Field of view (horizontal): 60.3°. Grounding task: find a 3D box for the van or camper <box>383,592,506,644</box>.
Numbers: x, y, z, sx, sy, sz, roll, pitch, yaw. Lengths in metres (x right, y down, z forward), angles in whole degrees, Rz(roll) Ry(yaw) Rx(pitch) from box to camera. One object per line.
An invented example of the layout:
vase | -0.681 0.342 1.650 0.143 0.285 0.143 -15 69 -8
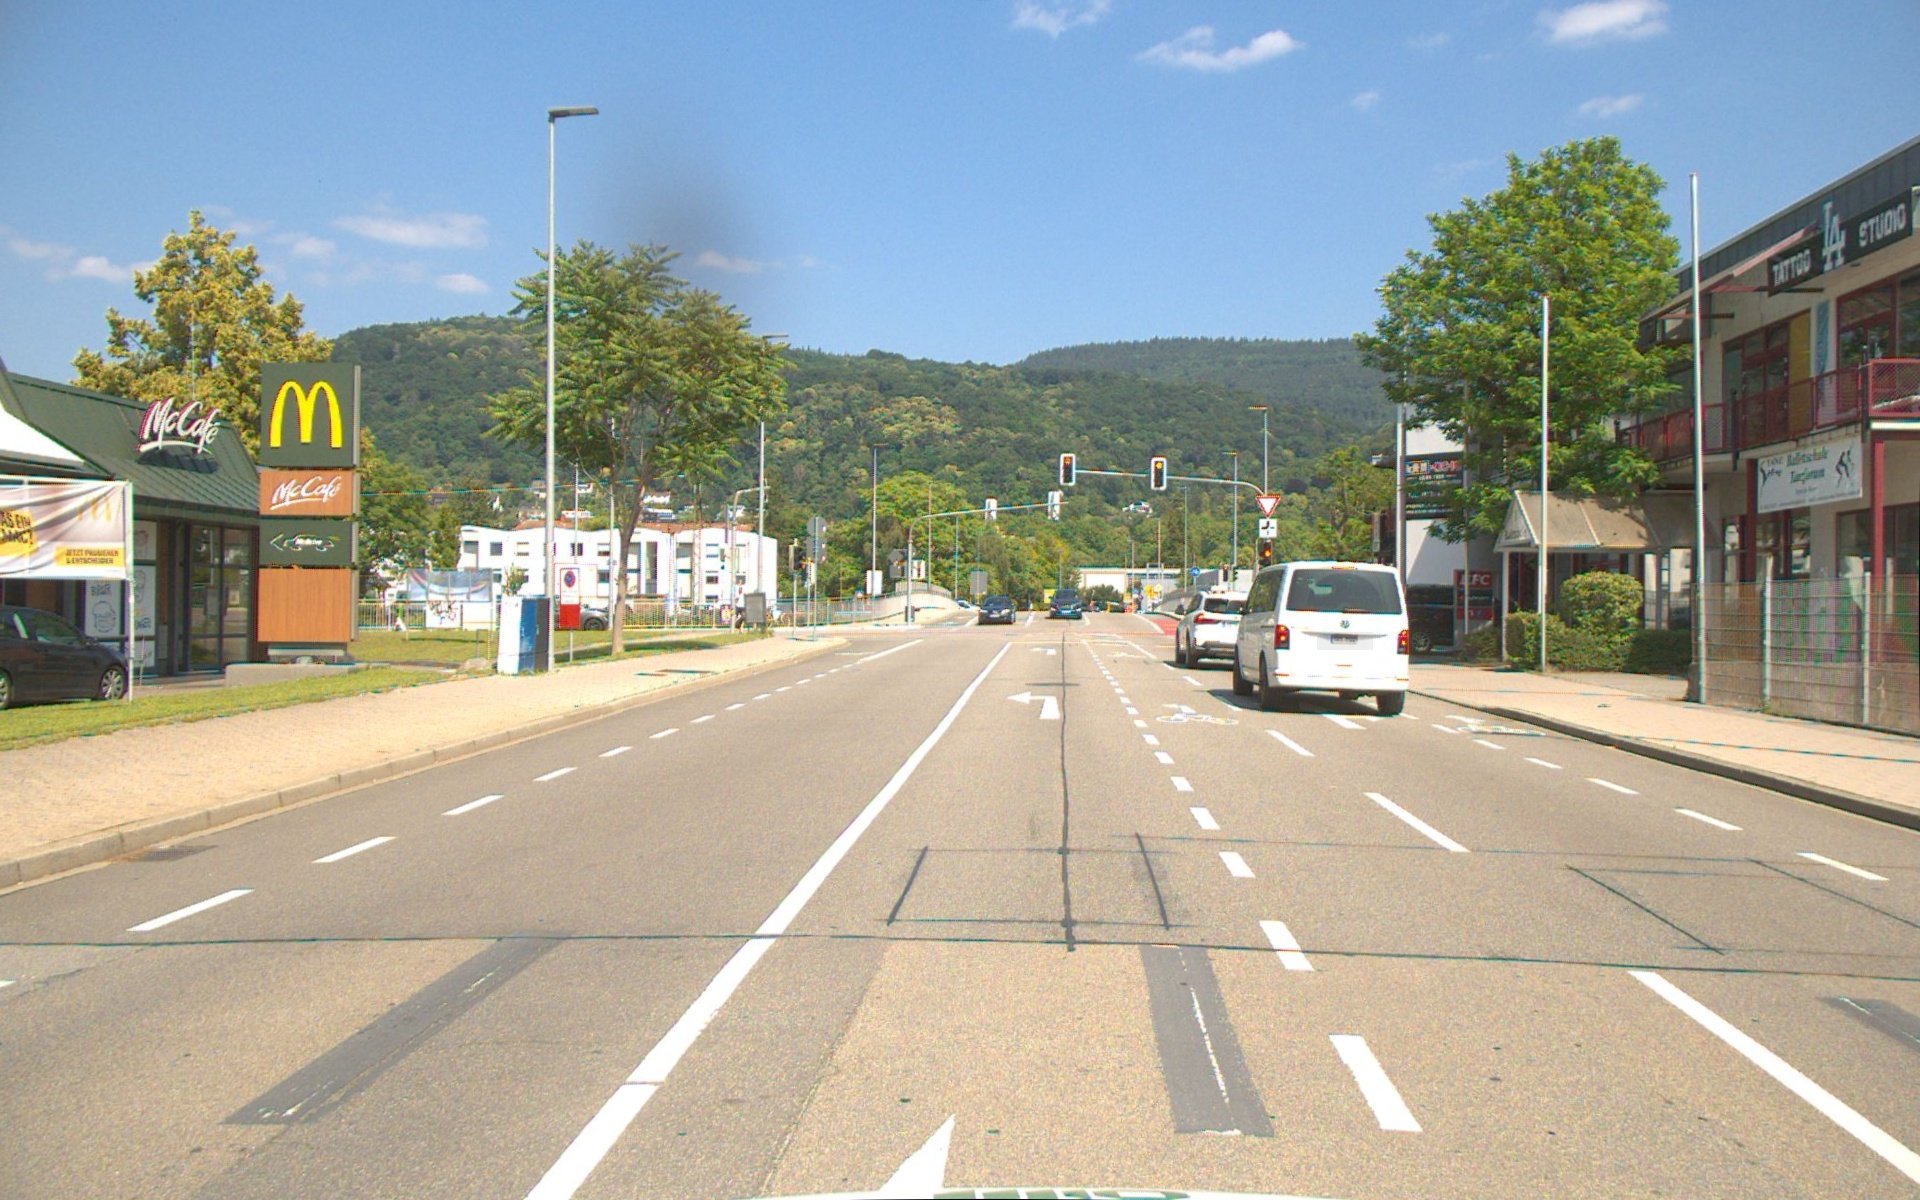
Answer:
van or camper | -17.975 0.611 57.845 3.920 1.601 1.993 2 1 -15

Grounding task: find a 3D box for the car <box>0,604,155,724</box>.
car | -13.416 0.845 23.138 1.951 1.441 4.132 3 1 5

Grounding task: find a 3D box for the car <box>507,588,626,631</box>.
car | -15.135 0.358 63.845 4.233 1.620 1.997 0 0 -7

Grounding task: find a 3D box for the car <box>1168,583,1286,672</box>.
car | 5.668 0.535 35.578 1.894 1.716 4.545 2 0 2

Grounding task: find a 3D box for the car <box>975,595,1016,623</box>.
car | 1.878 0.456 85.509 1.952 1.394 4.329 0 0 4

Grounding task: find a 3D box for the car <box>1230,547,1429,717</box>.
car | 5.090 0.376 23.413 1.894 2.095 4.546 2 1 2

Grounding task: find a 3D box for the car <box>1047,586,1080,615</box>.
car | 5.859 0.014 93.292 1.811 1.616 4.002 0 0 4

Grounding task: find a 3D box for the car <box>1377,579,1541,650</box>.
car | 13.043 0.369 43.468 3.902 1.806 2.002 0 0 9
